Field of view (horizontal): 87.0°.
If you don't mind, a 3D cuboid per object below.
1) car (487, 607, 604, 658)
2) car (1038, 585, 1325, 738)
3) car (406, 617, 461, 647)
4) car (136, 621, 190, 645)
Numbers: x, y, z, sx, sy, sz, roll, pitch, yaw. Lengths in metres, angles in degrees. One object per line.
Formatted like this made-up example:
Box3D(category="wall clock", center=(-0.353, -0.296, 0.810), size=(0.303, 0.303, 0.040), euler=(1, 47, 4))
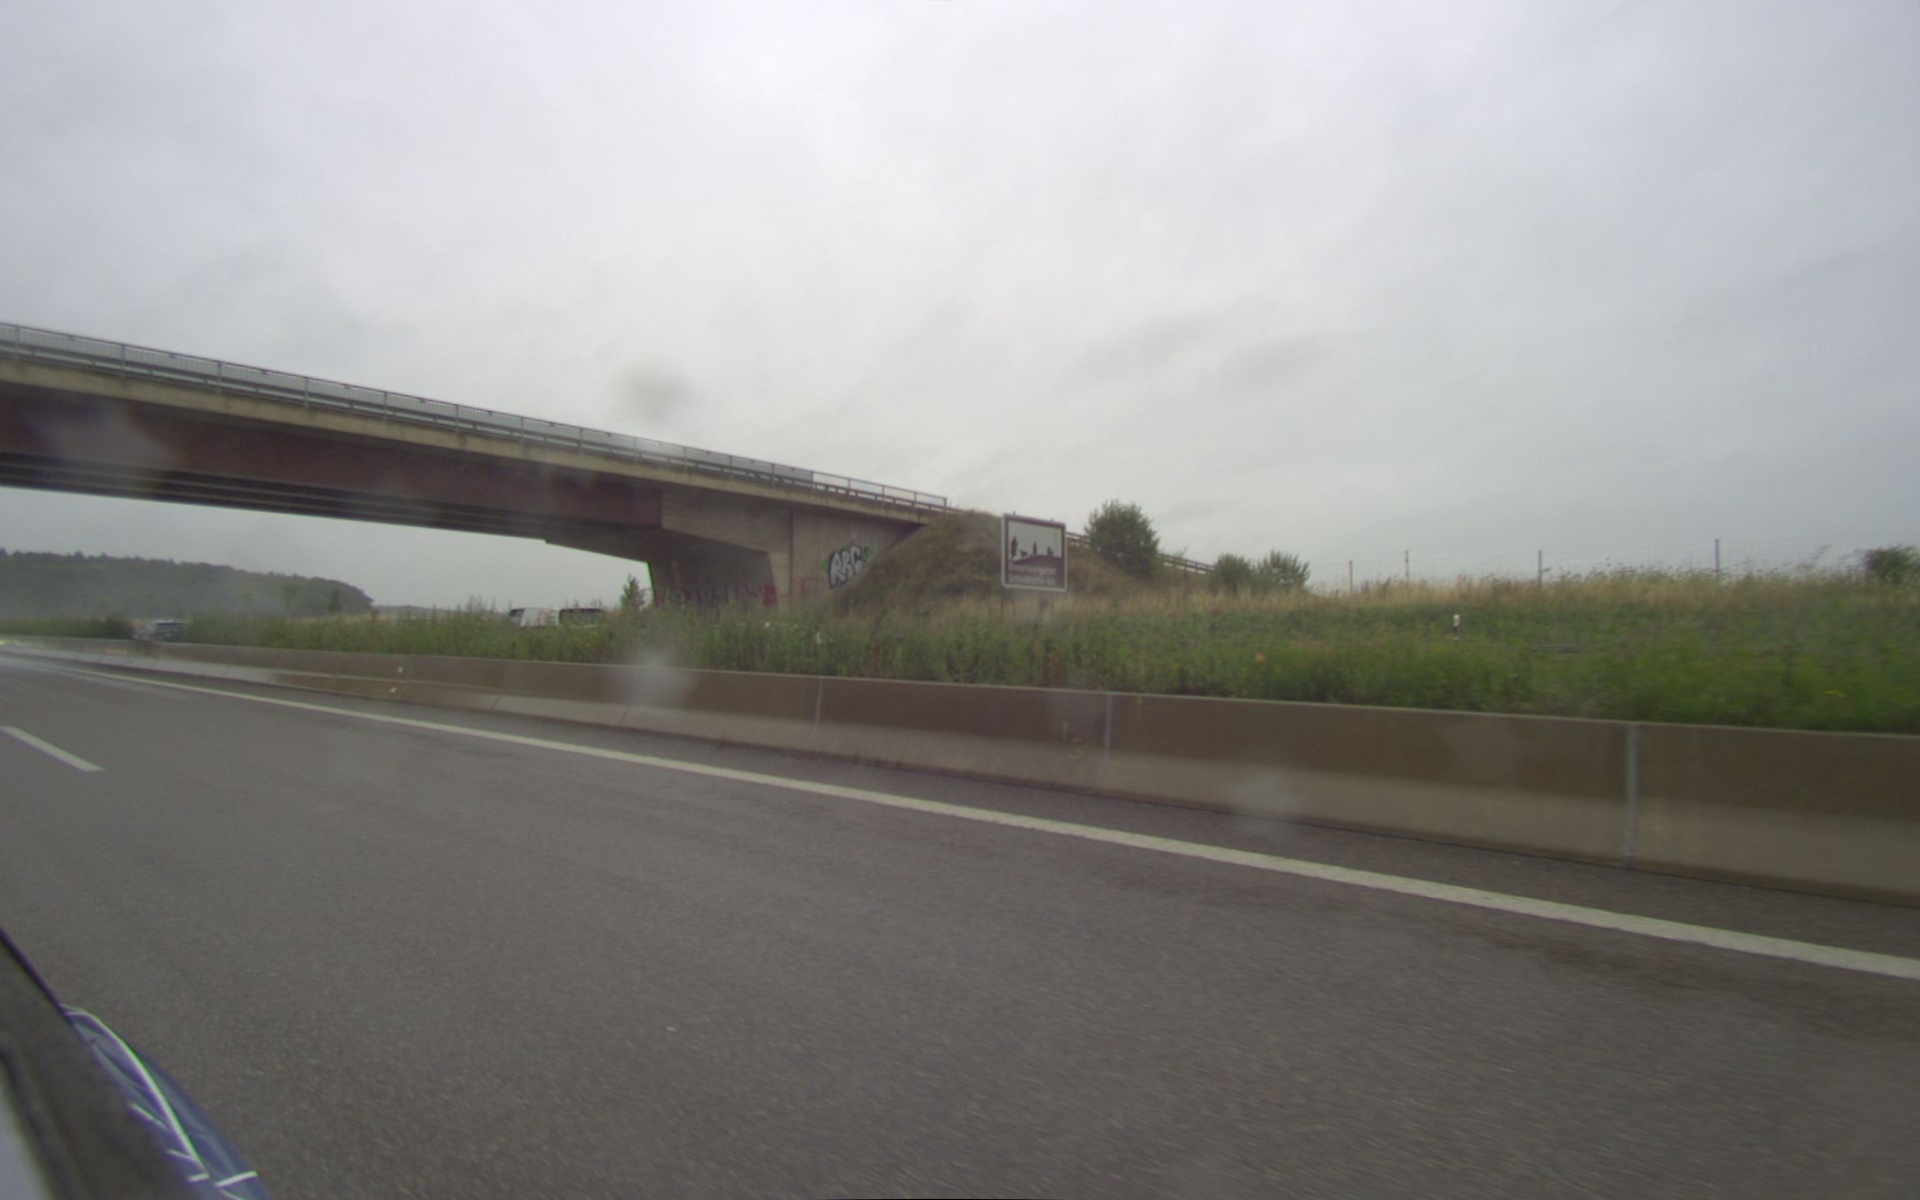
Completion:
Box3D(category="car", center=(-12.498, 0.956, 30.392), size=(4.345, 1.452, 1.445), euler=(-1, -1, 41))
Box3D(category="car", center=(2.791, 0.730, 13.128), size=(3.352, 1.735, 1.471), euler=(-1, -1, 42))
Box3D(category="car", center=(-24.255, 1.457, 46.577), size=(3.020, 1.342, 1.254), euler=(-1, -1, 41))
Box3D(category="car", center=(-48.082, 1.989, 61.052), size=(3.998, 1.342, 1.859), euler=(-1, -1, 41))
